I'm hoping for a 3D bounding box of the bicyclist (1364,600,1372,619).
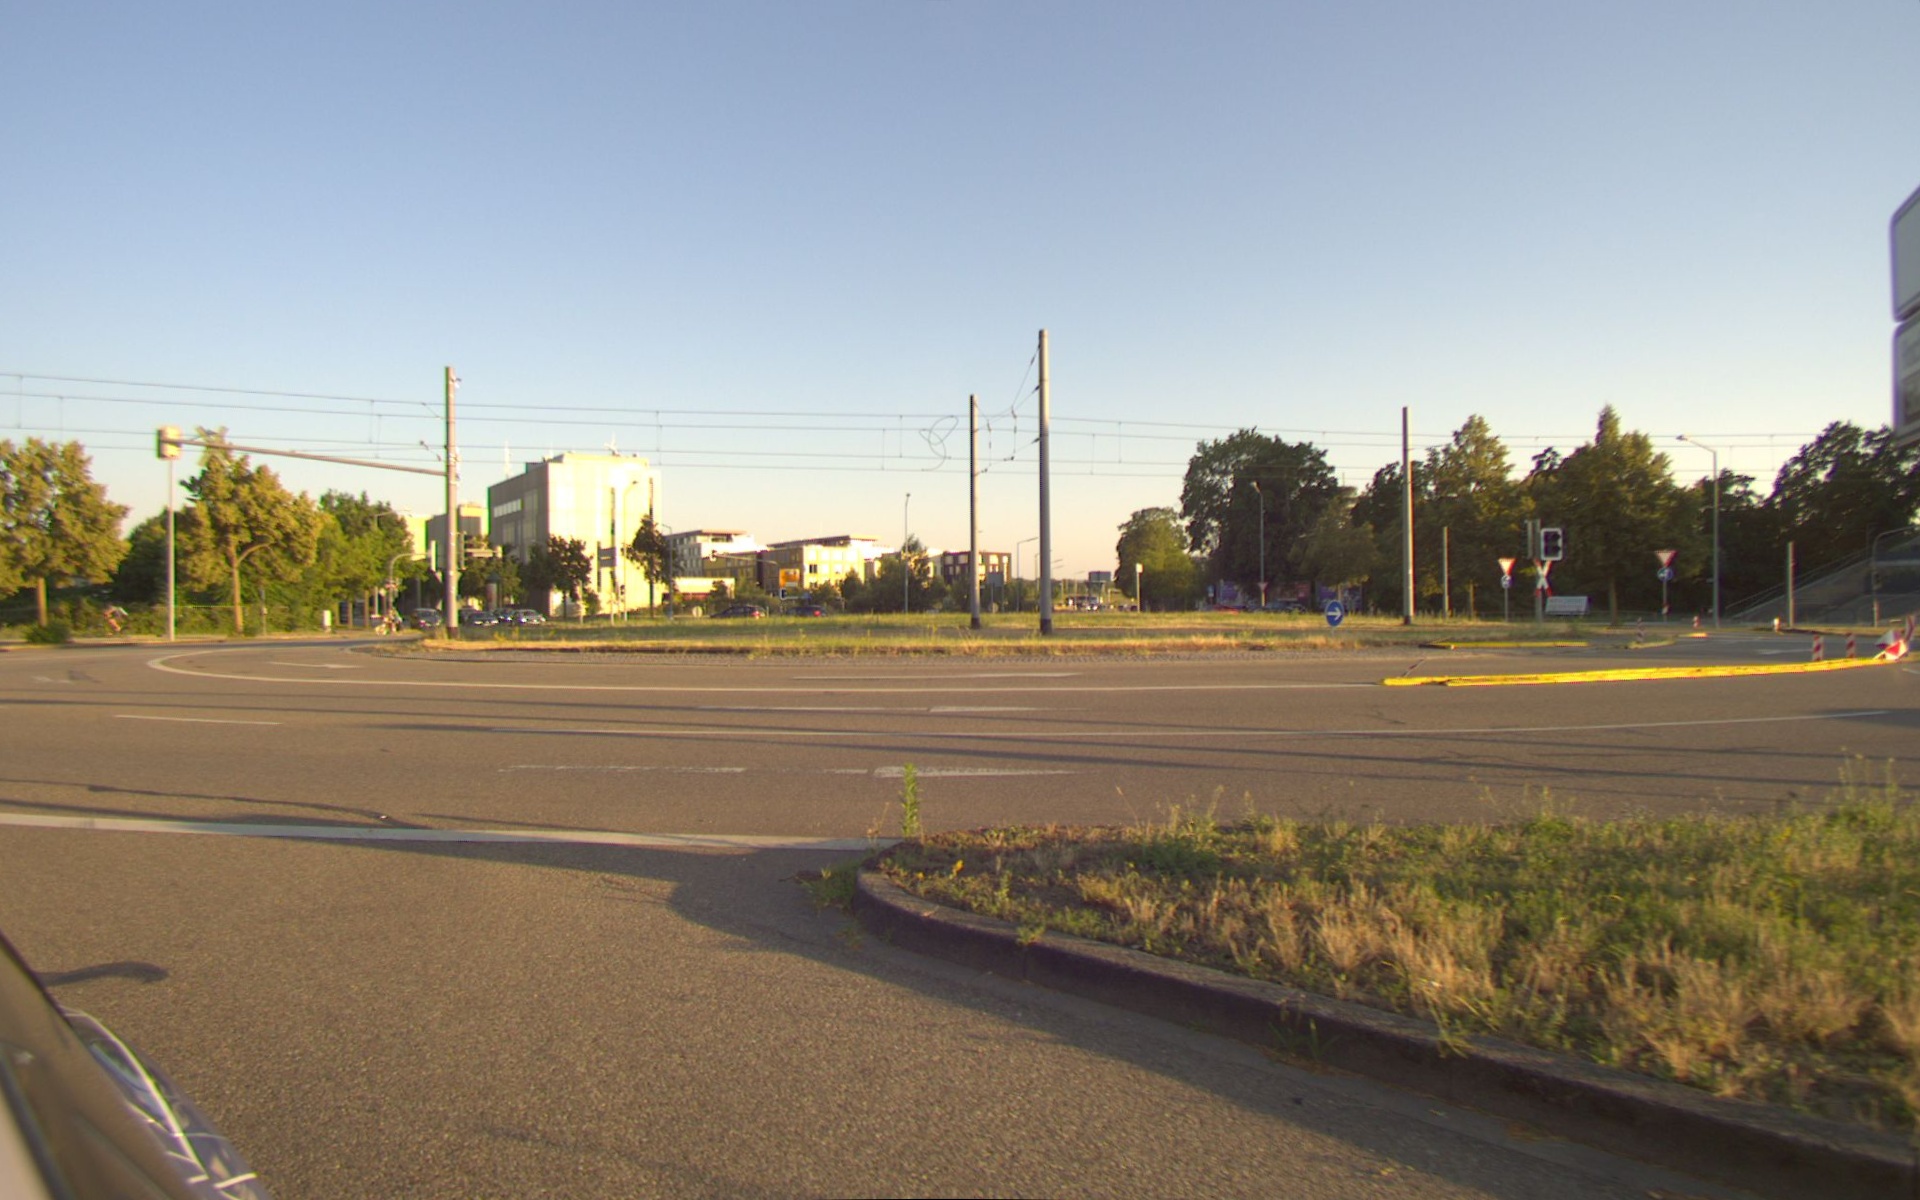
[{"bbox_3d":[30.702,0.746,76.172,0.448,1.408,0.467,-2,-1,42],"label":"bicyclist"}]

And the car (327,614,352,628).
[{"bbox_3d":[-75.973,2.601,123.876,1.844,1.637,4.199,-1,0,-41],"label":"car"}]

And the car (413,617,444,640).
[{"bbox_3d":[-42.913,2.305,81.648,1.841,1.763,3.863,-1,0,-33],"label":"car"}]

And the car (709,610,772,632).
[{"bbox_3d":[-15.945,1.540,73.408,4.228,1.512,1.827,-1,0,24],"label":"car"}]

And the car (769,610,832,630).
[{"bbox_3d":[-12.012,1.487,76.301,4.369,1.443,1.932,-1,-1,20],"label":"car"}]

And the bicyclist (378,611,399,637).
[{"bbox_3d":[-37.486,1.583,66.384,0.809,1.645,0.989,-1,-1,35],"label":"bicyclist"}]

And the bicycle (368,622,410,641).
[{"bbox_3d":[-37.469,2.036,66.405,0.809,1.188,2.302,-1,0,34],"label":"bicycle"}]

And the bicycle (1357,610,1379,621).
[{"bbox_3d":[30.701,1.177,76.180,1.418,0.797,0.467,-2,-1,42],"label":"bicycle"}]

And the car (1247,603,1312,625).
[{"bbox_3d":[21.862,0.989,69.450,1.911,1.443,4.334,-1,-1,-22],"label":"car"}]

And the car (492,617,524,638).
[{"bbox_3d":[-38.315,2.325,85.705,1.841,1.637,4.204,-1,0,-33],"label":"car"}]

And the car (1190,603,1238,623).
[{"bbox_3d":[19.270,1.032,76.899,1.914,1.443,4.603,-1,-1,-8],"label":"car"}]

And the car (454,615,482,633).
[{"bbox_3d":[-47.036,2.251,96.732,1.842,1.637,4.204,-1,0,-34],"label":"car"}]

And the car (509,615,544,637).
[{"bbox_3d":[-34.168,2.005,79.719,1.841,1.637,4.204,-1,0,-33],"label":"car"}]

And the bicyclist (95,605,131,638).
[{"bbox_3d":[-45.576,1.140,54.446,1.124,1.762,1.396,-1,0,45],"label":"bicyclist"}]

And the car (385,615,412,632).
[{"bbox_3d":[-55.062,2.279,99.149,1.842,1.637,4.203,-1,0,-36],"label":"car"}]

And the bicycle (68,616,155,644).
[{"bbox_3d":[-45.612,1.591,54.427,1.124,1.406,3.488,-1,0,44],"label":"bicycle"}]

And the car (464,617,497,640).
[{"bbox_3d":[-37.662,2.218,79.450,1.841,1.637,4.204,-1,0,-33],"label":"car"}]
